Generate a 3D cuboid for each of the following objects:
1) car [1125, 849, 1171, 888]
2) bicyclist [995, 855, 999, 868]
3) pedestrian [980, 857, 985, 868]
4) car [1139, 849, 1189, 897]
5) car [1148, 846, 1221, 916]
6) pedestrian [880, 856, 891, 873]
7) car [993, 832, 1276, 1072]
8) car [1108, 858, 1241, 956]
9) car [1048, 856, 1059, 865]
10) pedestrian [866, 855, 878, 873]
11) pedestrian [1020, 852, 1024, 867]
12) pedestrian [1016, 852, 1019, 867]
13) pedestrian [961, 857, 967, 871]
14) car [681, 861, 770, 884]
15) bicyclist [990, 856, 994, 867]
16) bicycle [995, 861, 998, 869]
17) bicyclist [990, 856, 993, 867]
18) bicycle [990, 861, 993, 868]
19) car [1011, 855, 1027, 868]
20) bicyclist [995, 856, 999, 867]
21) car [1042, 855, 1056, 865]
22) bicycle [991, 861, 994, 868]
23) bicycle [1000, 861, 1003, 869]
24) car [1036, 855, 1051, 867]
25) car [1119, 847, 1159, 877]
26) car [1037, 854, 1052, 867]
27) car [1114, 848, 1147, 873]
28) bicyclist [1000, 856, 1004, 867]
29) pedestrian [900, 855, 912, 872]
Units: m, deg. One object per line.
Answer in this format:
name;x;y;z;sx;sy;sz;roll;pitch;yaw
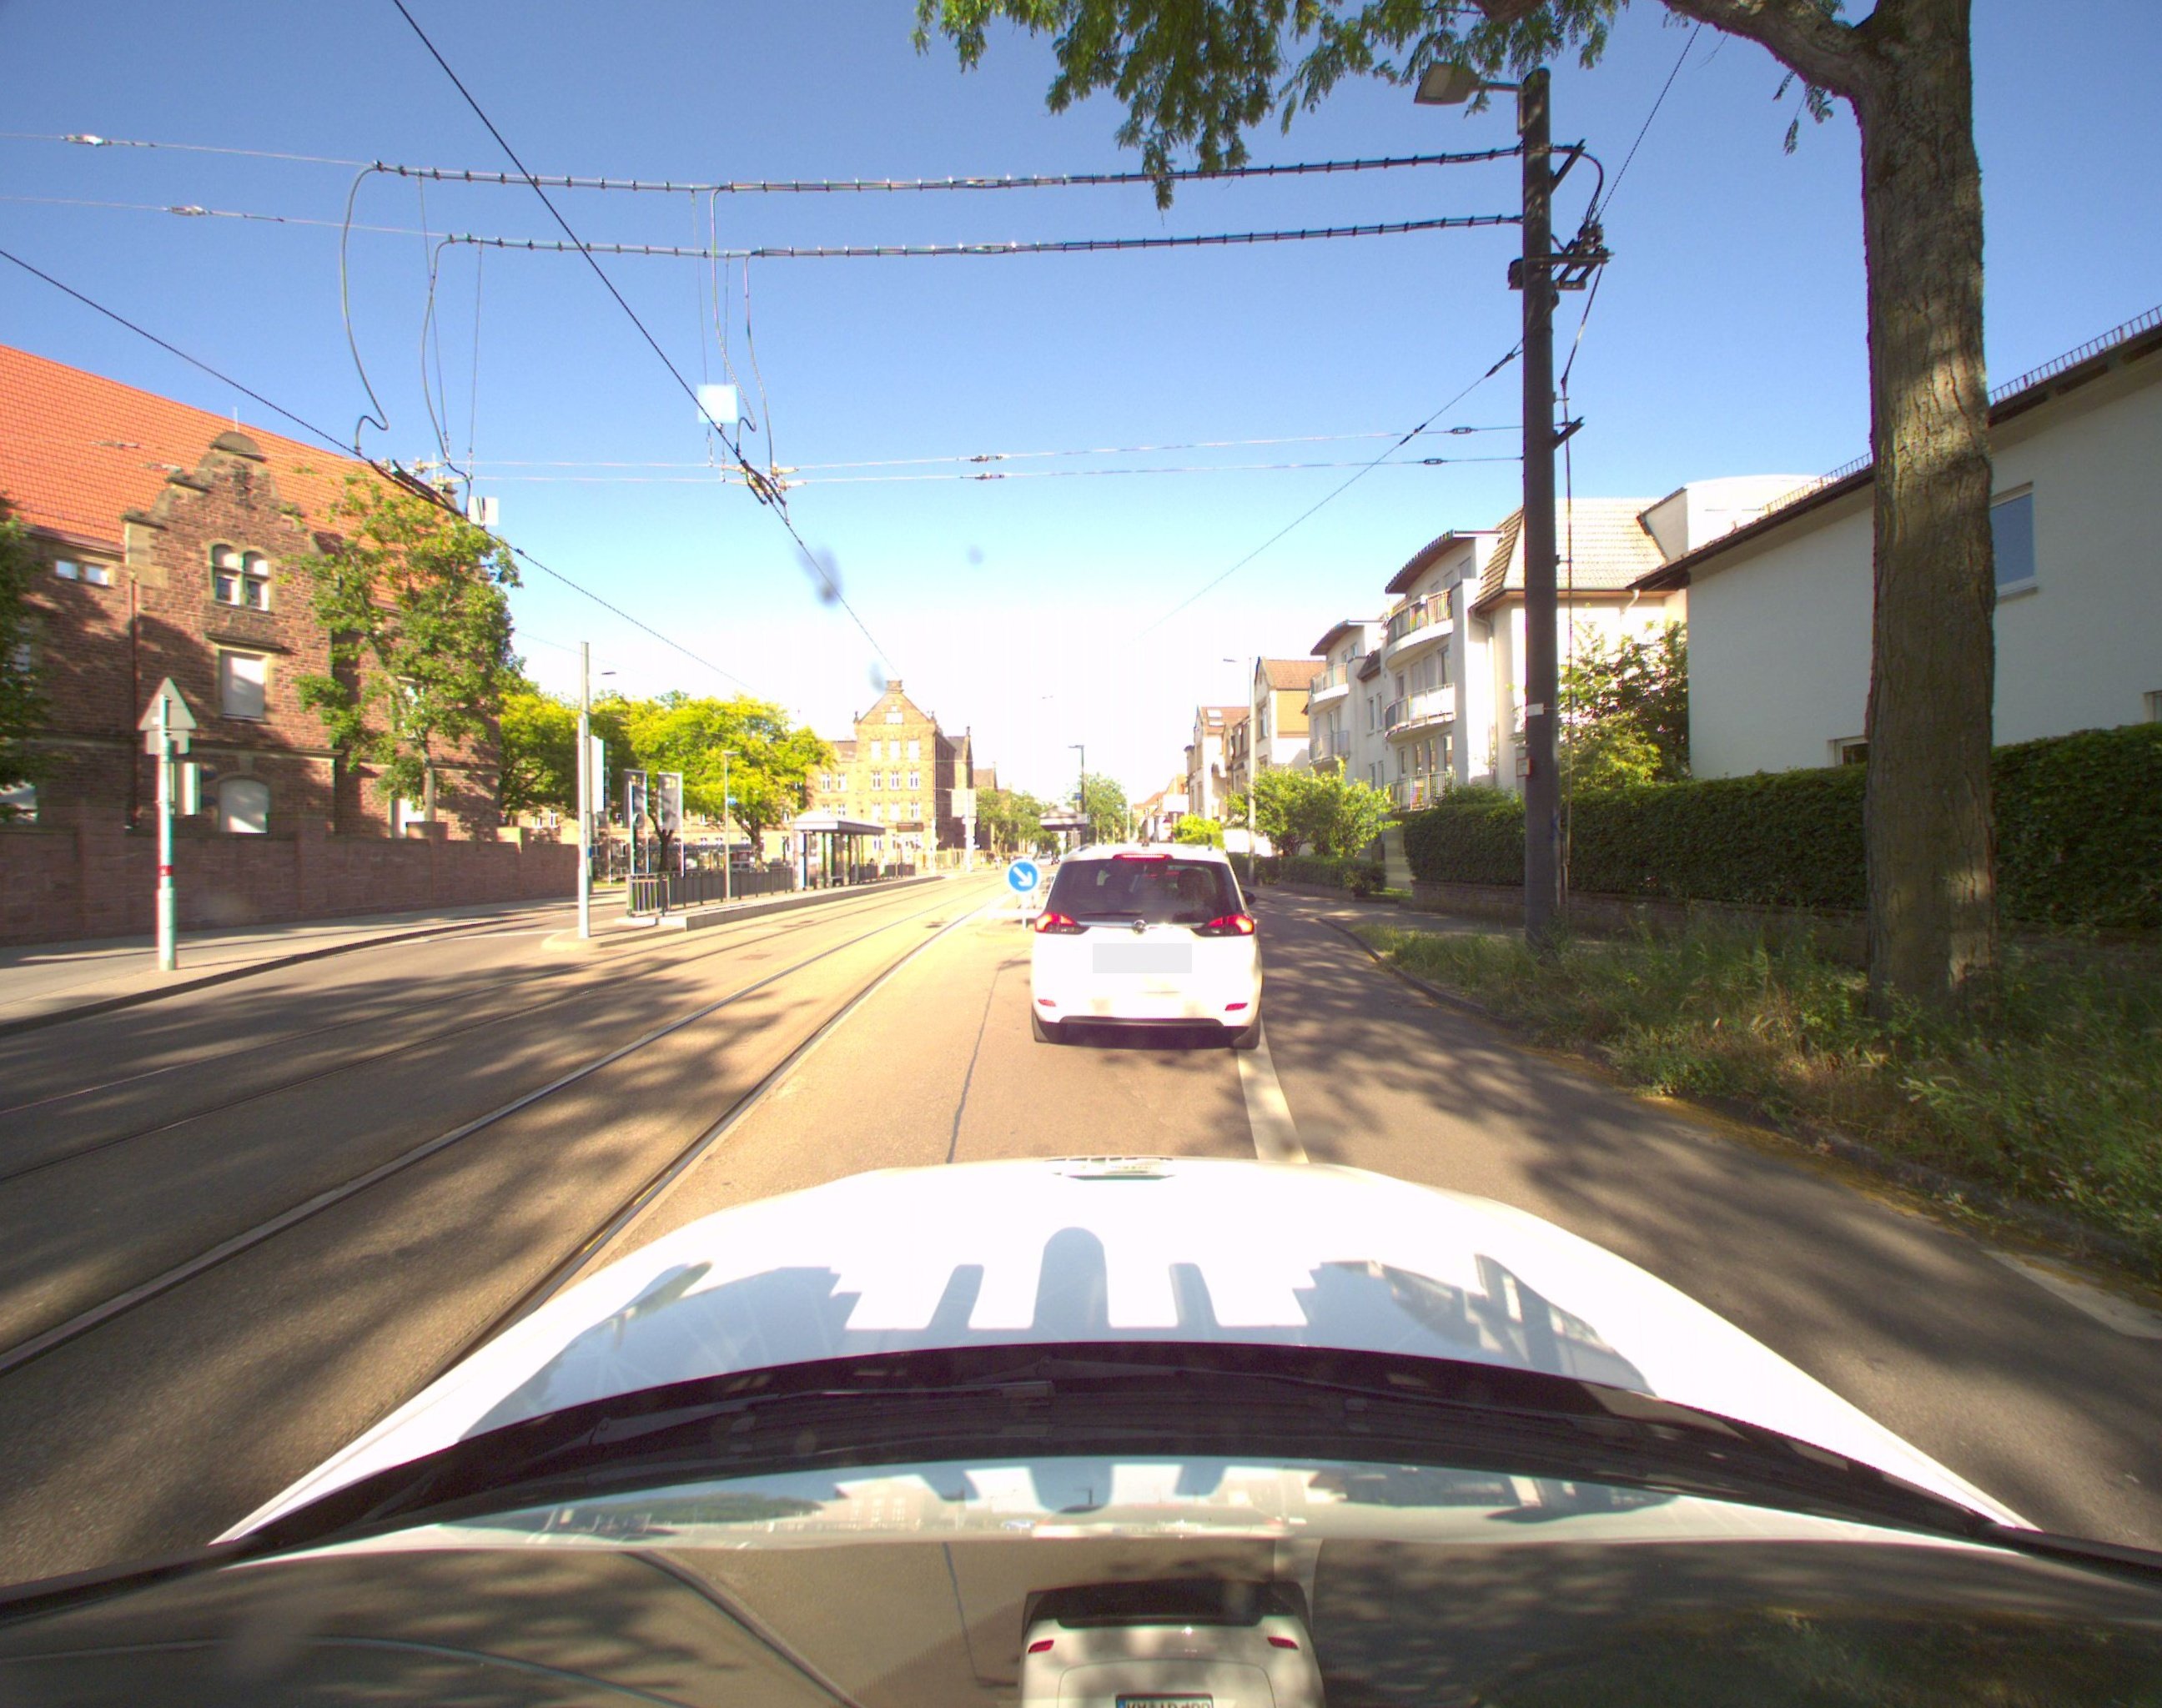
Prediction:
car;2.930;0.614;36.248;1.824;1.579;4.012;-1;0;2
bicyclist;-10.710;0.959;103.731;0.443;1.553;0.742;-1;0;-2
pedestrian;-15.568;1.338;129.014;0.733;1.714;0.753;0;-1;-4
car;2.943;0.637;29.317;1.630;1.601;3.859;-1;0;4
car;2.573;0.640;20.892;1.630;1.601;3.859;-1;0;4
pedestrian;-19.207;1.036;80.012;0.799;1.588;0.934;0;-1;-1
car;0.644;0.685;7.701;1.982;1.644;4.003;0;0;8
car;1.532;0.792;14.063;1.944;1.397;4.005;-1;0;4
car;-5.159;1.172;150.863;1.989;1.629;3.984;-1;0;-3
pedestrian;-19.719;0.921;76.777;0.839;1.691;1.029;0;-1;1
pedestrian;-8.161;0.783;112.646;0.443;2.013;0.495;-1;0;-2
pedestrian;-8.772;0.786;112.369;0.443;2.013;0.495;-1;0;-2
pedestrian;-14.672;1.251;102.175;0.733;1.714;0.705;0;-1;-4
car;-32.962;1.710;75.696;6.927;1.921;2.992;-1;0;0
bicyclist;-12.452;1.054;113.758;0.443;1.553;0.495;-1;0;-2
bicycle;-10.717;1.425;103.521;0.343;0.950;1.160;0;-1;-1
bicyclist;-12.688;1.071;115.599;0.443;1.553;0.495;-1;0;-2
bicycle;-12.681;1.539;115.633;0.343;0.950;0.996;0;-1;-1
car;-8.195;0.935;107.477;1.989;1.629;3.996;-1;0;-3
bicyclist;-10.982;0.989;107.022;0.443;1.553;0.495;-1;0;-2
car;-5.133;0.921;131.300;1.987;1.629;4.000;-1;0;0
bicycle;-12.424;1.522;113.796;0.343;0.950;0.996;0;-1;-1
bicycle;-10.664;1.474;109.605;0.343;0.950;0.996;0;-1;-1
car;-5.300;0.964;114.742;1.989;1.629;3.996;-1;0;-3
car;3.126;0.418;44.374;1.986;1.503;4.002;-1;0;2
car;-4.818;0.902;107.619;1.989;1.629;3.996;-1;0;-3
car;3.100;0.389;51.841;1.986;1.503;4.002;-1;0;2
bicyclist;-10.665;1.008;109.600;0.443;1.553;0.495;-1;0;-2
pedestrian;-16.927;0.909;78.700;0.892;1.684;1.029;0;-1;1
